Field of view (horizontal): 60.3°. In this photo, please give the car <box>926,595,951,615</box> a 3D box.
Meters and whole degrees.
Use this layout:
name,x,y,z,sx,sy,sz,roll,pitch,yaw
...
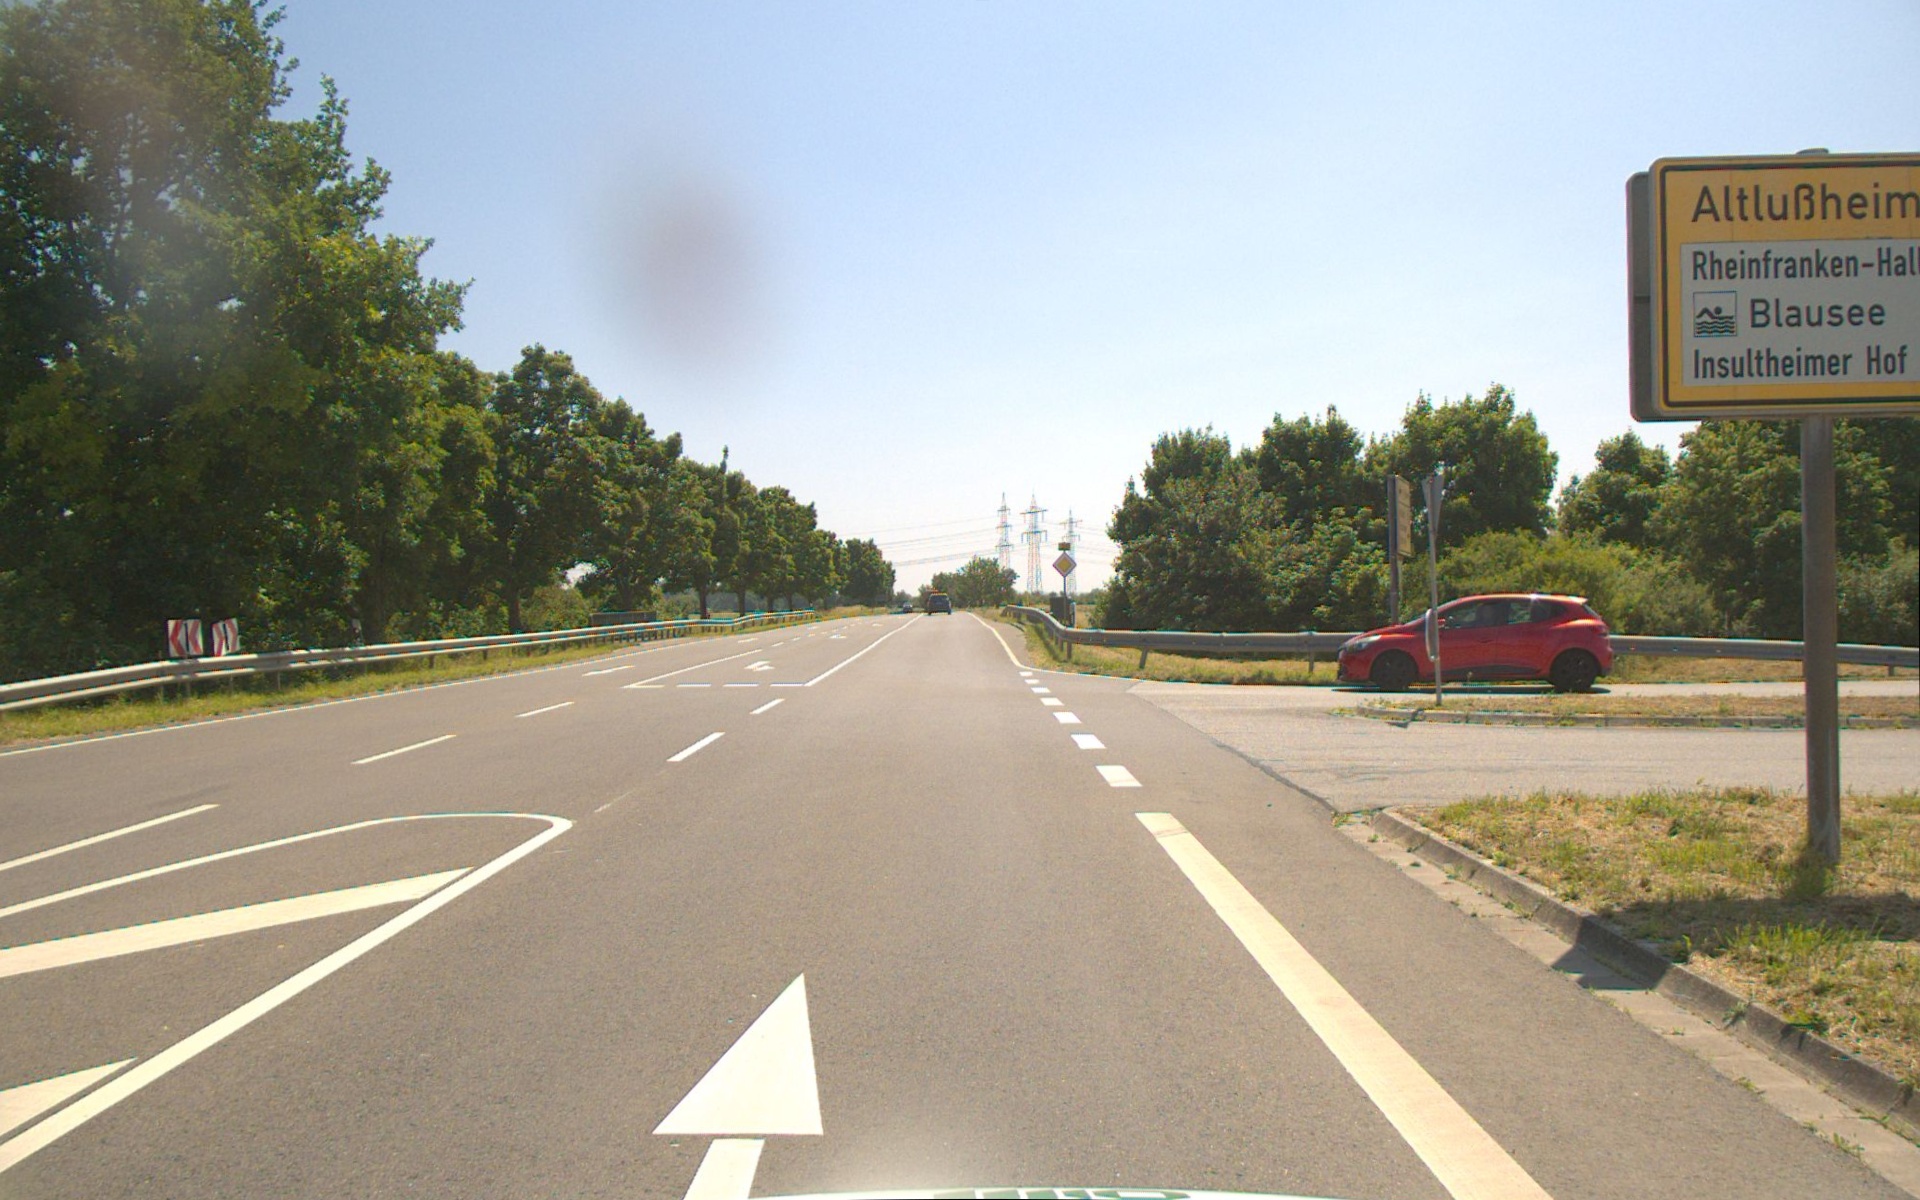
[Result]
name,x,y,z,sx,sy,sz,roll,pitch,yaw
car,-1.751,0.428,133.134,1.847,1.544,4.038,1,0,-2

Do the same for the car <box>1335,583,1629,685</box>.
name,x,y,z,sx,sy,sz,roll,pitch,yaw
car,7.723,0.504,24.836,4.064,1.443,1.781,0,-1,13
